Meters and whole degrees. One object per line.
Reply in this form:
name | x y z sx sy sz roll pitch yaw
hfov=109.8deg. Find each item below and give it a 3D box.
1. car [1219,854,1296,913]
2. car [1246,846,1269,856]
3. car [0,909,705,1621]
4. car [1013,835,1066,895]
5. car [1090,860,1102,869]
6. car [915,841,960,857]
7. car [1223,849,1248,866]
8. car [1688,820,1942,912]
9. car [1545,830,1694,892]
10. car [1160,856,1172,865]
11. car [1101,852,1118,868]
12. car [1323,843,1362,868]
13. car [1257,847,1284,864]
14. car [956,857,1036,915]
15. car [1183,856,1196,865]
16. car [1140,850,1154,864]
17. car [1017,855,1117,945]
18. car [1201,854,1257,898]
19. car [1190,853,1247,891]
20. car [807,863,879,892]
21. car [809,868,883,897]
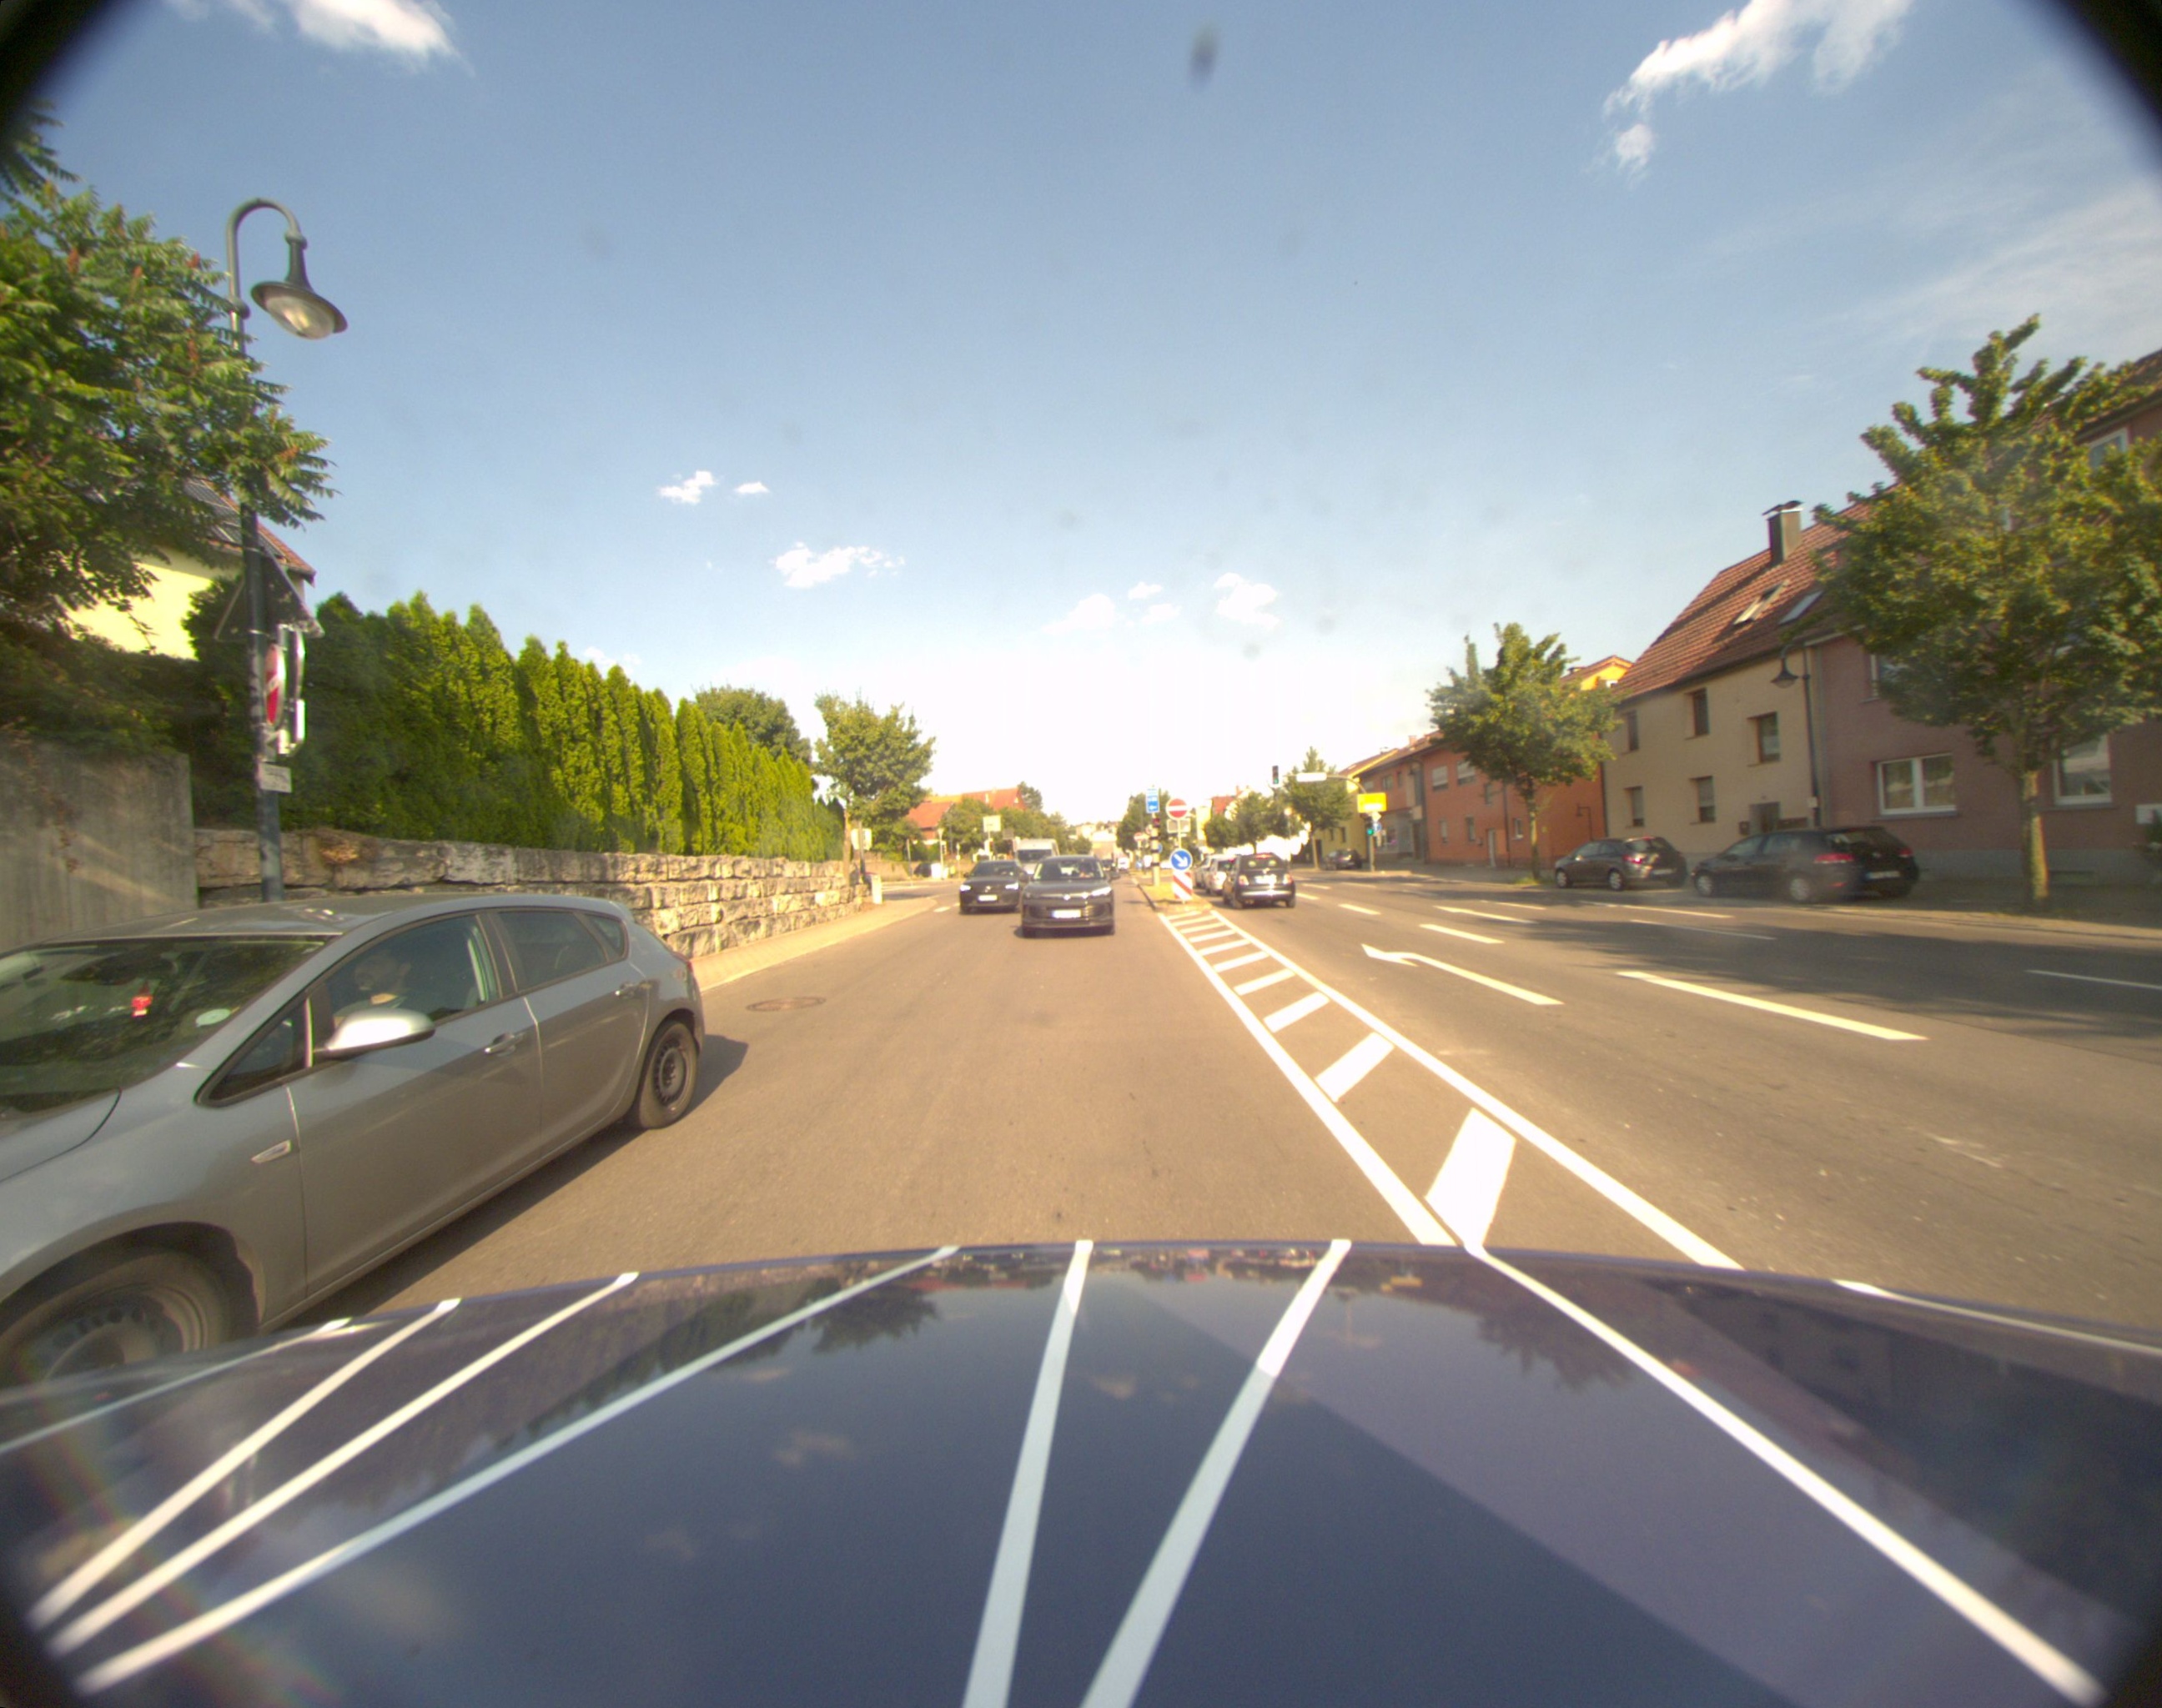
car | 4.888 0.779 21.448 1.535 1.453 3.507 -3 0 4
car | 28.100 -0.485 120.725 3.417 1.616 1.857 0 0 -39
car | -3.277 1.059 2.819 1.652 1.414 4.144 -1 -1 0
car | -1.964 0.496 37.899 2.040 2.642 6.649 -2 0 1
car | 2.406 1.702 121.593 1.529 1.353 2.794 -3 0 6
car | -14.630 -0.514 77.561 4.072 1.447 1.681 -3 0 15
car | 15.669 0.326 77.182 1.690 1.602 4.414 -3 0 3
car | 14.871 0.224 15.753 1.669 1.523 3.904 -5 0 7
car | 15.206 0.206 21.719 1.515 1.501 3.886 -5 -1 2
car | 14.522 1.127 129.702 1.761 1.403 4.001 -3 0 2
car | 3.474 0.746 92.583 1.816 1.860 4.002 -3 0 4
car | 17.496 0.127 50.963 1.595 1.430 3.777 -7 -1 7
car | 19.012 0.199 76.458 1.859 1.586 4.462 -3 0 5
car | -2.582 0.940 24.005 1.792 1.596 4.057 -3 -1 3
car | 18.387 1.162 129.085 1.761 1.403 4.001 -3 0 2
car | 11.990 0.530 138.891 2.090 2.461 5.479 -3 0 0
car | -0.161 0.883 16.186 1.767 1.582 4.057 -3 -1 3
car | 5.378 0.759 27.920 1.592 1.419 3.579 -3 0 5
car | 6.051 0.754 33.826 1.839 1.479 4.567 -3 0 3
car | -14.210 1.392 45.591 3.797 1.533 1.598 -2 0 -4
car | -15.316 1.825 49.665 4.250 1.616 1.862 -3 0 -3
